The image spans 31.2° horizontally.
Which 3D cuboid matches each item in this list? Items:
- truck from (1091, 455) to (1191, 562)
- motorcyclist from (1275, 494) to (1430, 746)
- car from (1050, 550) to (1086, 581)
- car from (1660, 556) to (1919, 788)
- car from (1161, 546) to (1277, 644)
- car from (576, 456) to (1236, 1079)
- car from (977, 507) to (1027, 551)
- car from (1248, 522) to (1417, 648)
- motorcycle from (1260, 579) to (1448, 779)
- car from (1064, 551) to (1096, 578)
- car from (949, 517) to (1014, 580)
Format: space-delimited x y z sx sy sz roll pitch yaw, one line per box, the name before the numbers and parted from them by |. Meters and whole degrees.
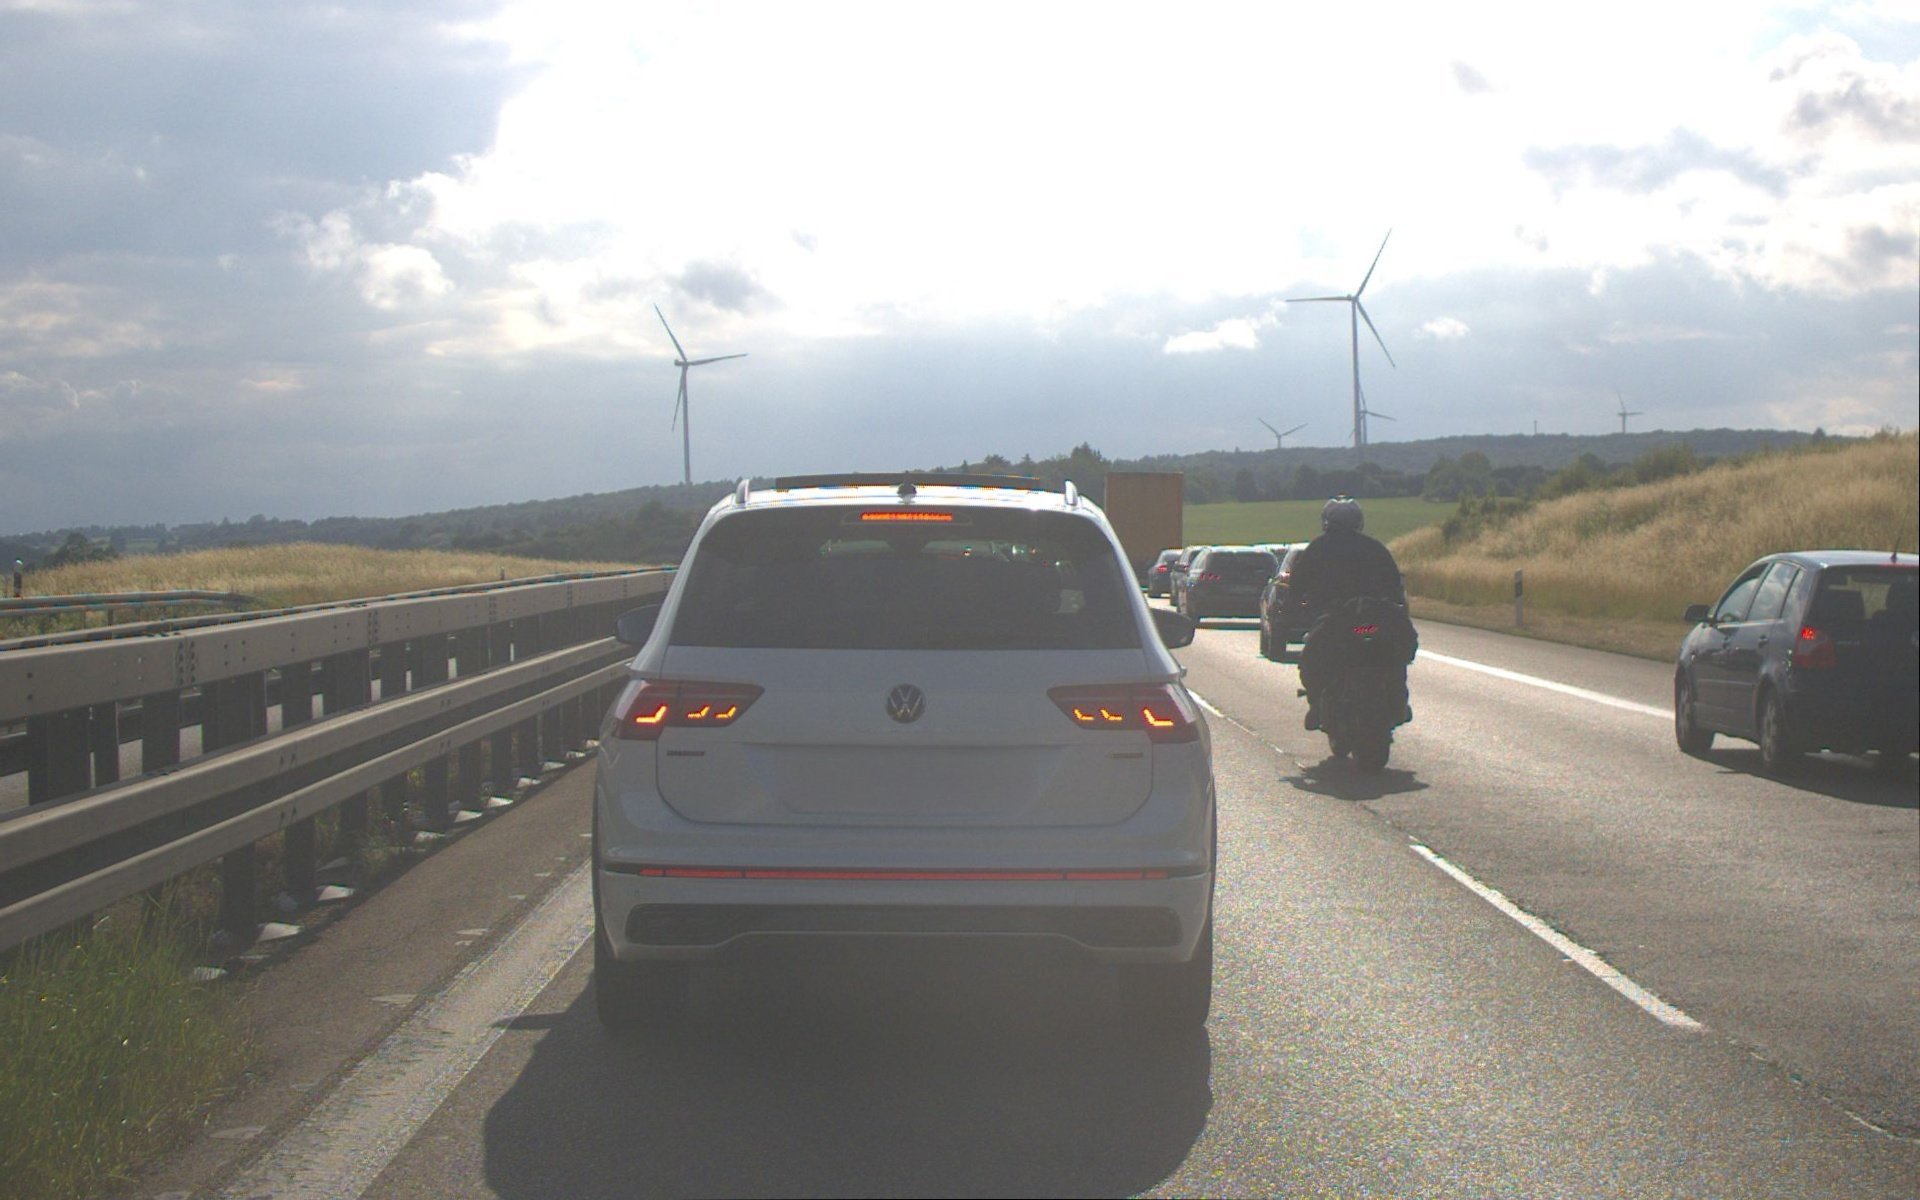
truck | 6.254 -3.199 120.467 3.184 3.581 11.130 0 1 2
motorcyclist | 2.476 0.119 21.777 0.849 1.554 0.934 0 1 -1
car | 5.550 -1.785 177.159 1.704 1.540 4.000 0 1 0
car | 5.836 0.416 22.868 1.605 1.415 3.672 0 1 0
car | 4.519 -0.111 60.488 1.704 1.644 4.000 0 1 0
car | -0.160 0.425 11.254 1.770 1.670 4.000 0 1 0
car | 1.471 -2.531 122.755 1.704 1.540 4.000 0 1 0
car | 4.739 -0.213 44.215 1.704 1.540 4.000 0 1 0
motorcycle | 2.472 0.470 21.826 0.895 1.186 2.257 0 1 -1
car | 6.887 -2.047 197.588 1.704 1.540 4.000 0 1 0
car | 0.554 -1.387 92.779 1.704 1.644 4.000 0 1 0
